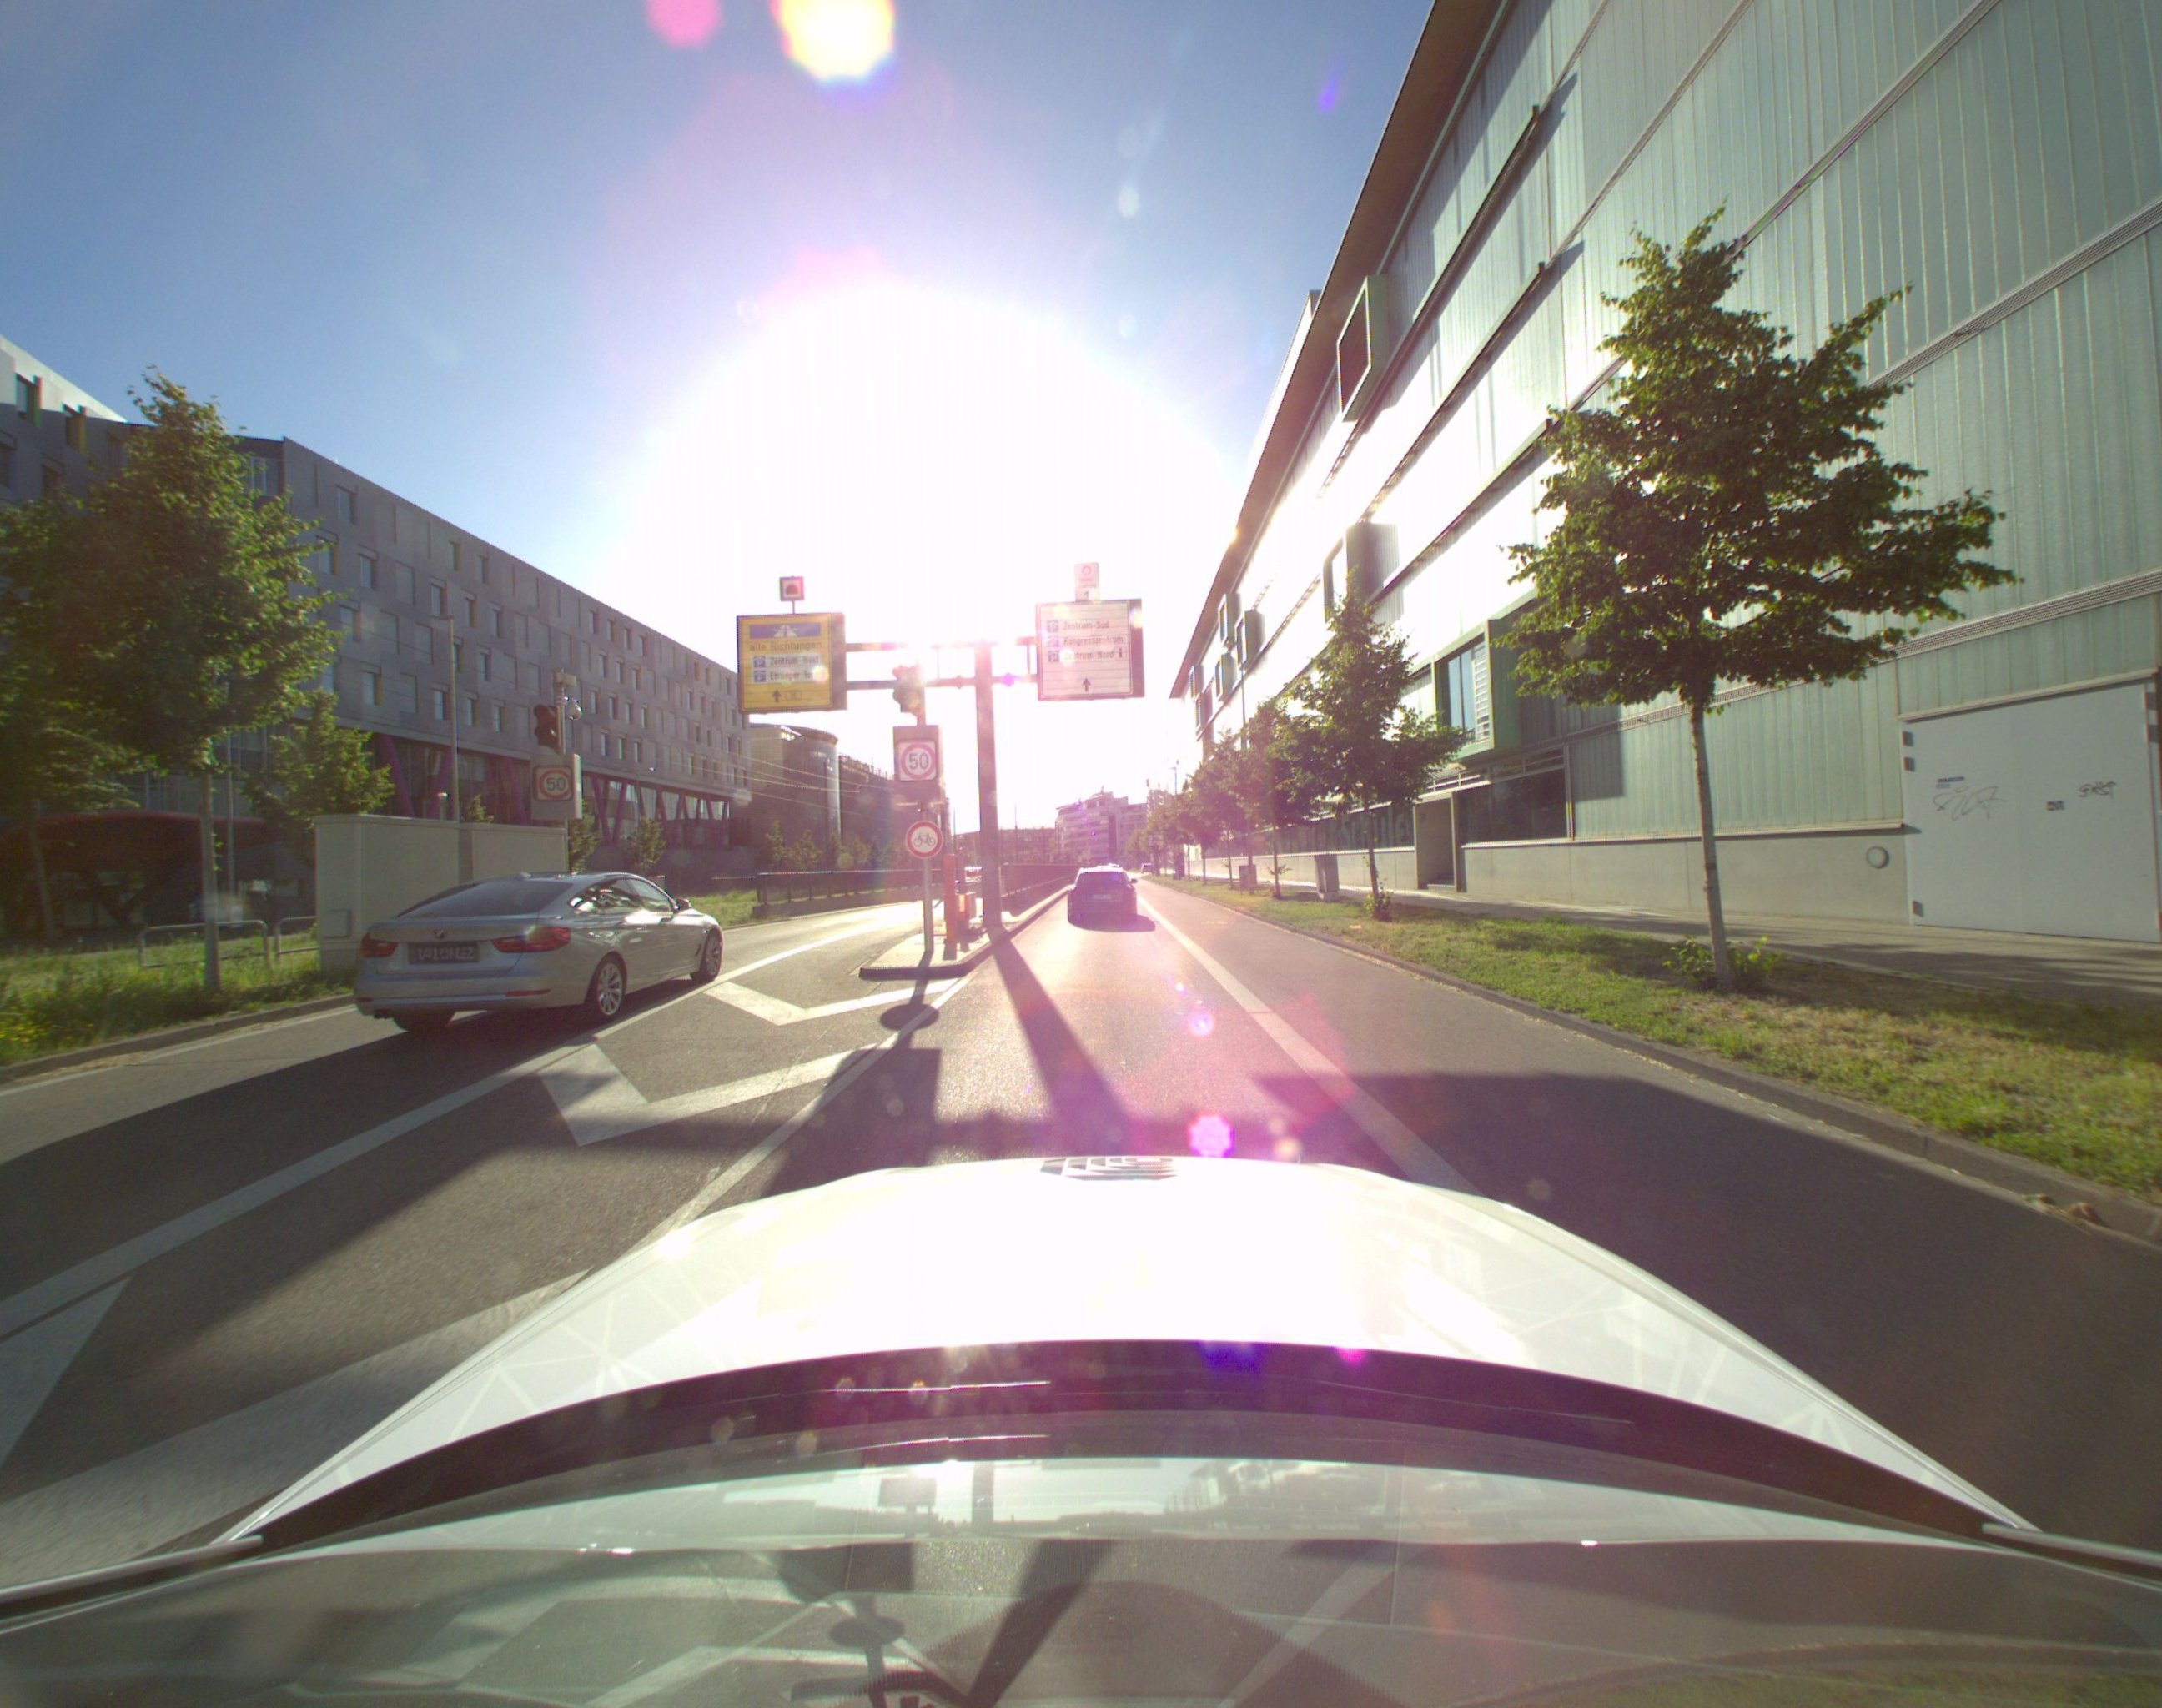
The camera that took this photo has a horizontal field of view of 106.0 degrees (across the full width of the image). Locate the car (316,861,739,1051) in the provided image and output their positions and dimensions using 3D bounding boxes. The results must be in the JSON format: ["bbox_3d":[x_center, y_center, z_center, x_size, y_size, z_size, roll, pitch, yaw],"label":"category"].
[{"bbox_3d":[-5.607,0.859,9.217,1.796,1.527,4.901,-1,0,-5],"label":"car"}]

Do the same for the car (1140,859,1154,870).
[{"bbox_3d":[10.158,1.628,125.512,1.846,1.481,4.854,-4,0,1],"label":"car"}]

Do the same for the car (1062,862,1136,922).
[{"bbox_3d":[0.525,1.003,22.981,1.805,1.427,4.691,-2,-1,2],"label":"car"}]

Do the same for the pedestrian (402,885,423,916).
[{"bbox_3d":[-43.532,3.025,53.047,0.733,2.014,0.690,-2,-1,2],"label":"pedestrian"}]
